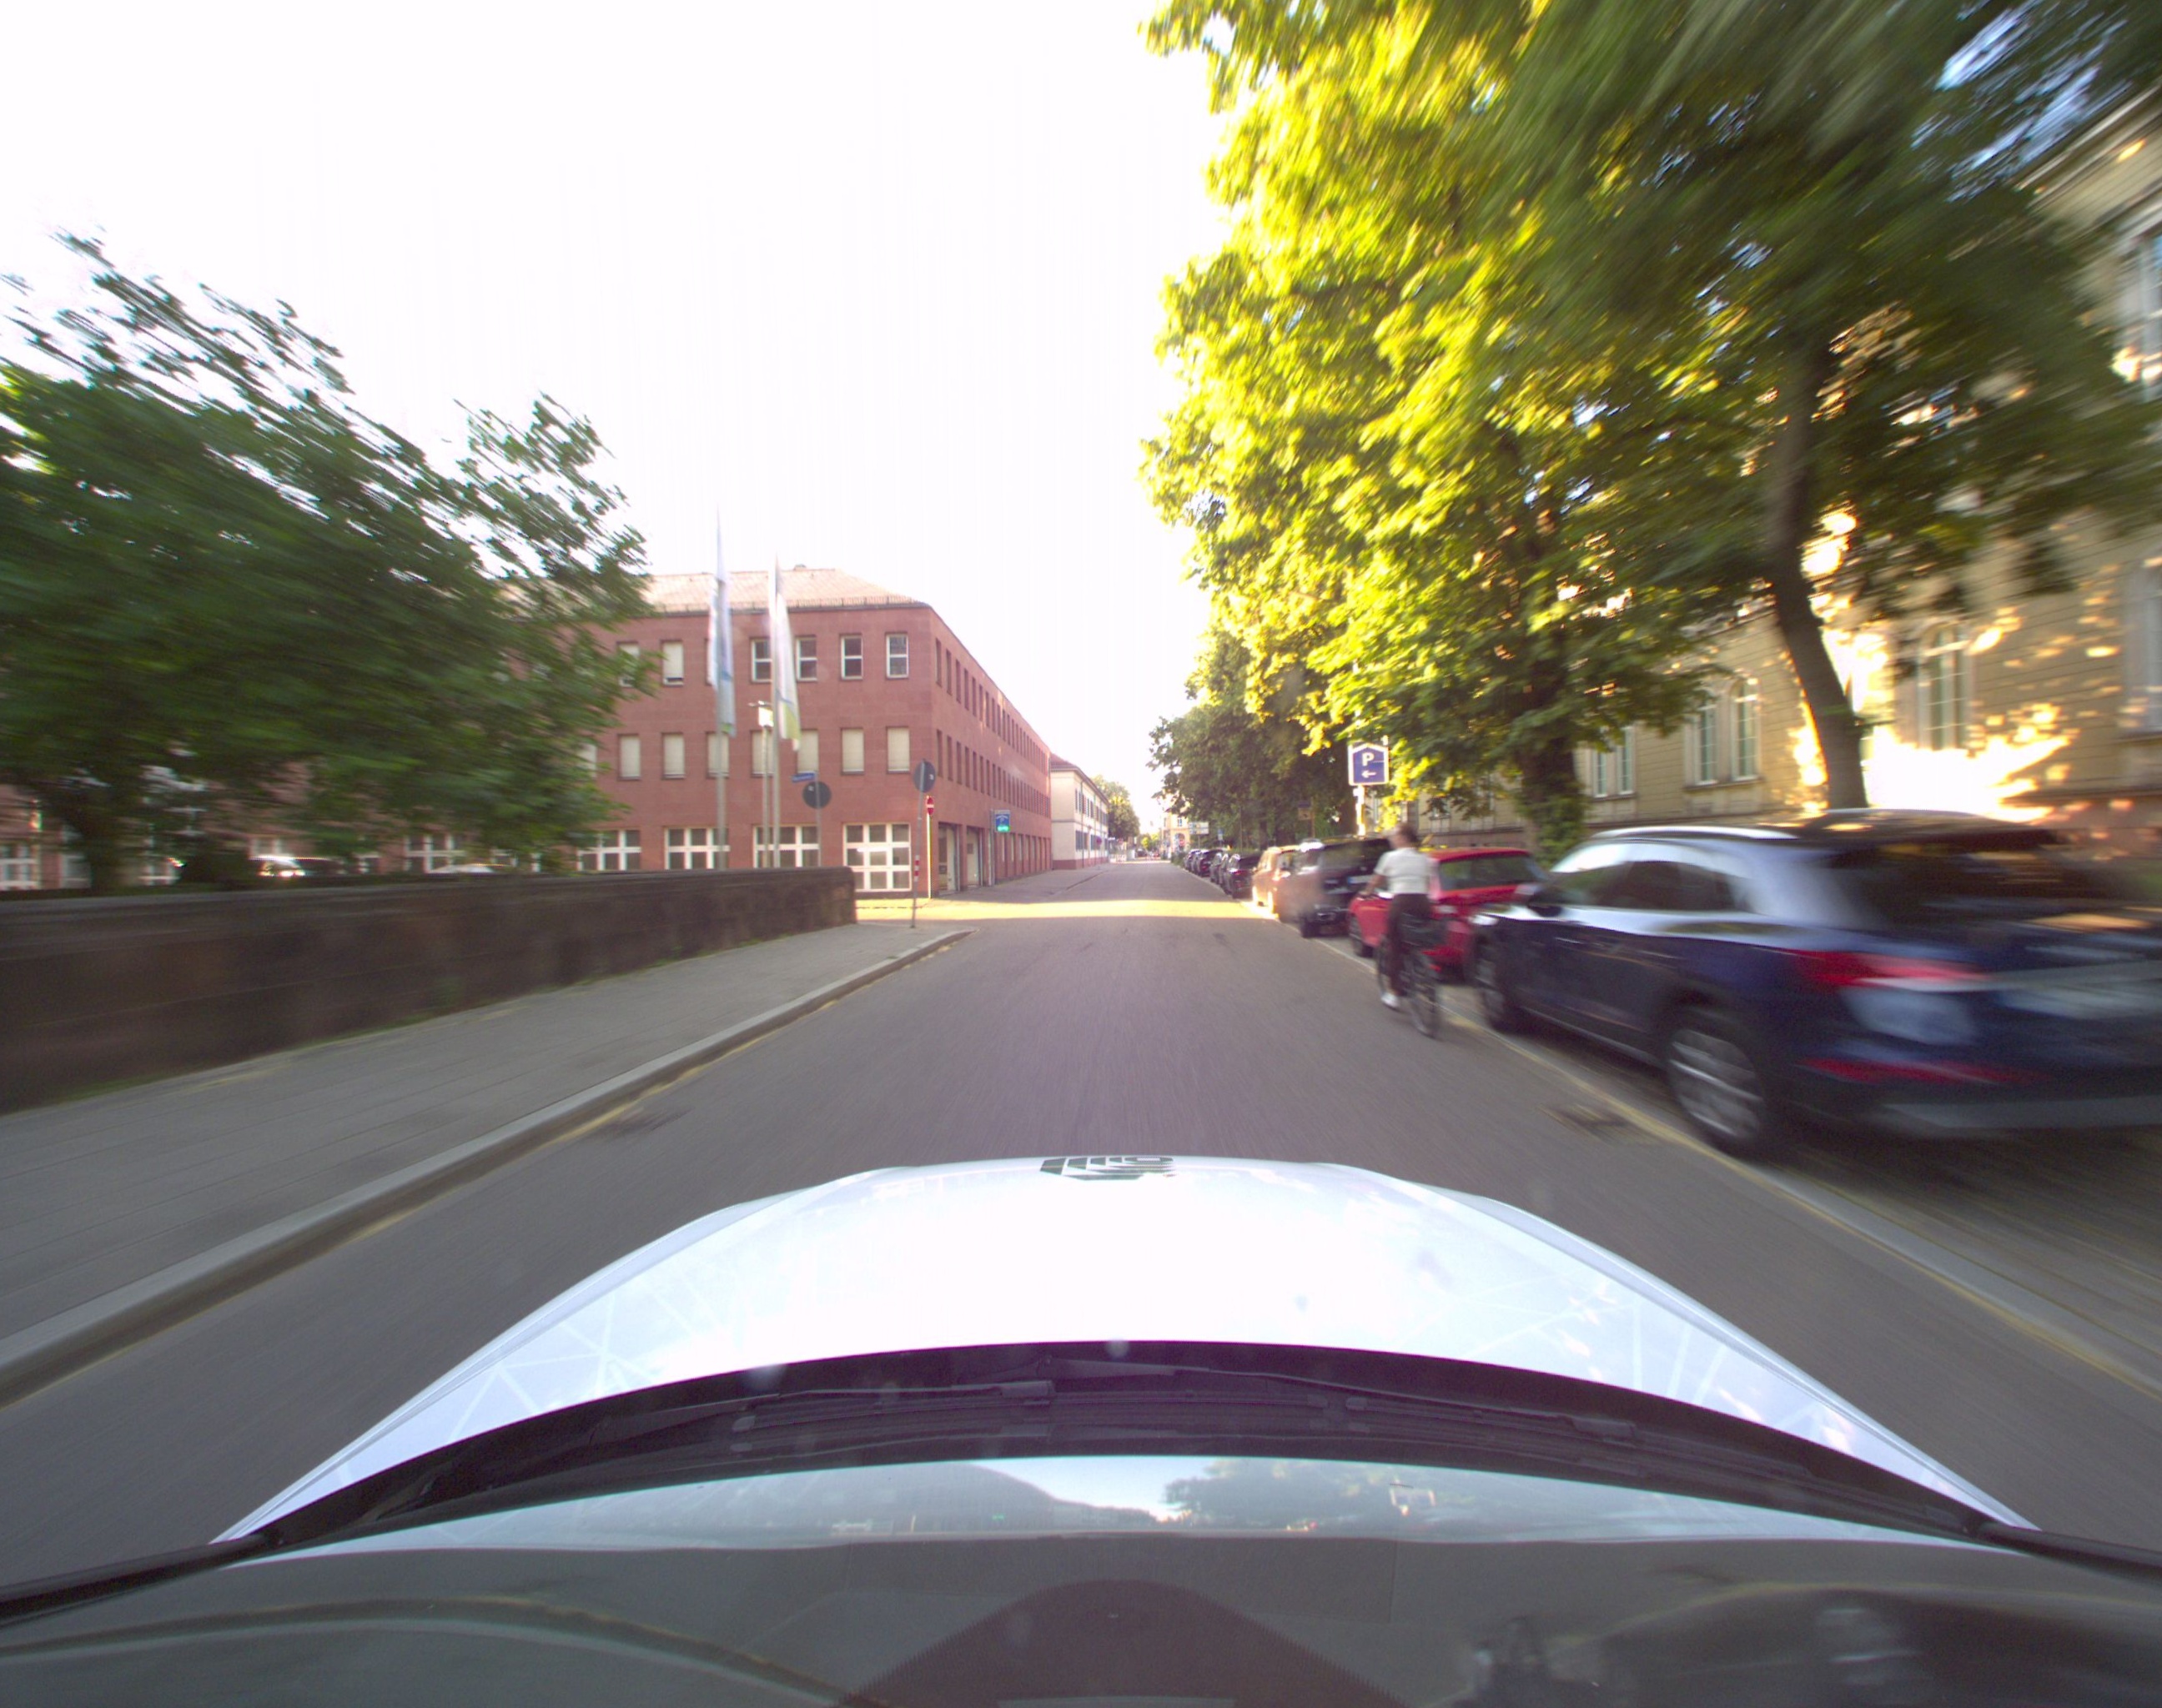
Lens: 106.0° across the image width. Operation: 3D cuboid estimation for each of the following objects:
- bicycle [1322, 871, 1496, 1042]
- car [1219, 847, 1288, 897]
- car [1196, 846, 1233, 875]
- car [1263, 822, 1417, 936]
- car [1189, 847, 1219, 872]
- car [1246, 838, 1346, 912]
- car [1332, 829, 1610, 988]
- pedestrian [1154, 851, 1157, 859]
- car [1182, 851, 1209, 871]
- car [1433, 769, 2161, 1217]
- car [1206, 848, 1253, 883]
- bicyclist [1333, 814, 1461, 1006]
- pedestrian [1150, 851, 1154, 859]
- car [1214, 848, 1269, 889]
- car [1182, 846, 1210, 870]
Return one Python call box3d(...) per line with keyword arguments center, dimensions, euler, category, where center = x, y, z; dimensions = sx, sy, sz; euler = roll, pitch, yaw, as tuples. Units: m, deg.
box3d(center=(2.882, 0.826, 7.452), dimensions=(0.748, 1.252, 2.211), euler=(-2, 0, 2), category="bicycle")
box3d(center=(5.932, 0.605, 28.456), dimensions=(1.716, 1.533, 4.628), euler=(-2, -1, 4), category="car")
box3d(center=(8.195, 0.390, 50.228), dimensions=(1.799, 1.651, 4.424), euler=(-2, -1, 4), category="car")
box3d(center=(4.828, 0.447, 15.914), dimensions=(1.796, 1.813, 4.954), euler=(-2, -1, 5), category="car")
box3d(center=(8.301, 0.390, 55.267), dimensions=(1.716, 1.538, 4.194), euler=(-2, -1, 4), category="car")
box3d(center=(5.513, 0.529, 21.449), dimensions=(1.716, 1.682, 4.504), euler=(-2, -1, 4), category="car")
box3d(center=(4.605, 0.587, 10.341), dimensions=(1.717, 1.589, 3.971), euler=(-2, -1, 2), category="car")
box3d(center=(15.480, 0.233, 168.687), dimensions=(0.654, 1.617, 0.746), euler=(-2, 0, 5), category="pedestrian")
box3d(center=(9.454, 0.568, 67.311), dimensions=(1.717, 1.488, 4.614), euler=(-5, -1, 3), category="car")
box3d(center=(4.153, 0.553, 5.428), dimensions=(1.873, 1.687, 4.701), euler=(-2, -1, 5), category="car")
box3d(center=(7.082, 0.549, 39.128), dimensions=(1.727, 1.506, 4.527), euler=(-2, -1, 4), category="car")
box3d(center=(2.847, 0.472, 7.440), dimensions=(0.748, 1.612, 1.039), euler=(-2, 0, 2), category="bicyclist")
box3d(center=(14.700, 0.229, 168.767), dimensions=(0.654, 1.617, 0.746), euler=(-2, 0, 5), category="pedestrian")
box3d(center=(6.564, 0.586, 33.628), dimensions=(1.716, 1.533, 4.194), euler=(-2, -1, 4), category="car")
box3d(center=(8.619, 0.311, 61.206), dimensions=(1.716, 1.651, 4.718), euler=(-2, -1, 4), category="car")
